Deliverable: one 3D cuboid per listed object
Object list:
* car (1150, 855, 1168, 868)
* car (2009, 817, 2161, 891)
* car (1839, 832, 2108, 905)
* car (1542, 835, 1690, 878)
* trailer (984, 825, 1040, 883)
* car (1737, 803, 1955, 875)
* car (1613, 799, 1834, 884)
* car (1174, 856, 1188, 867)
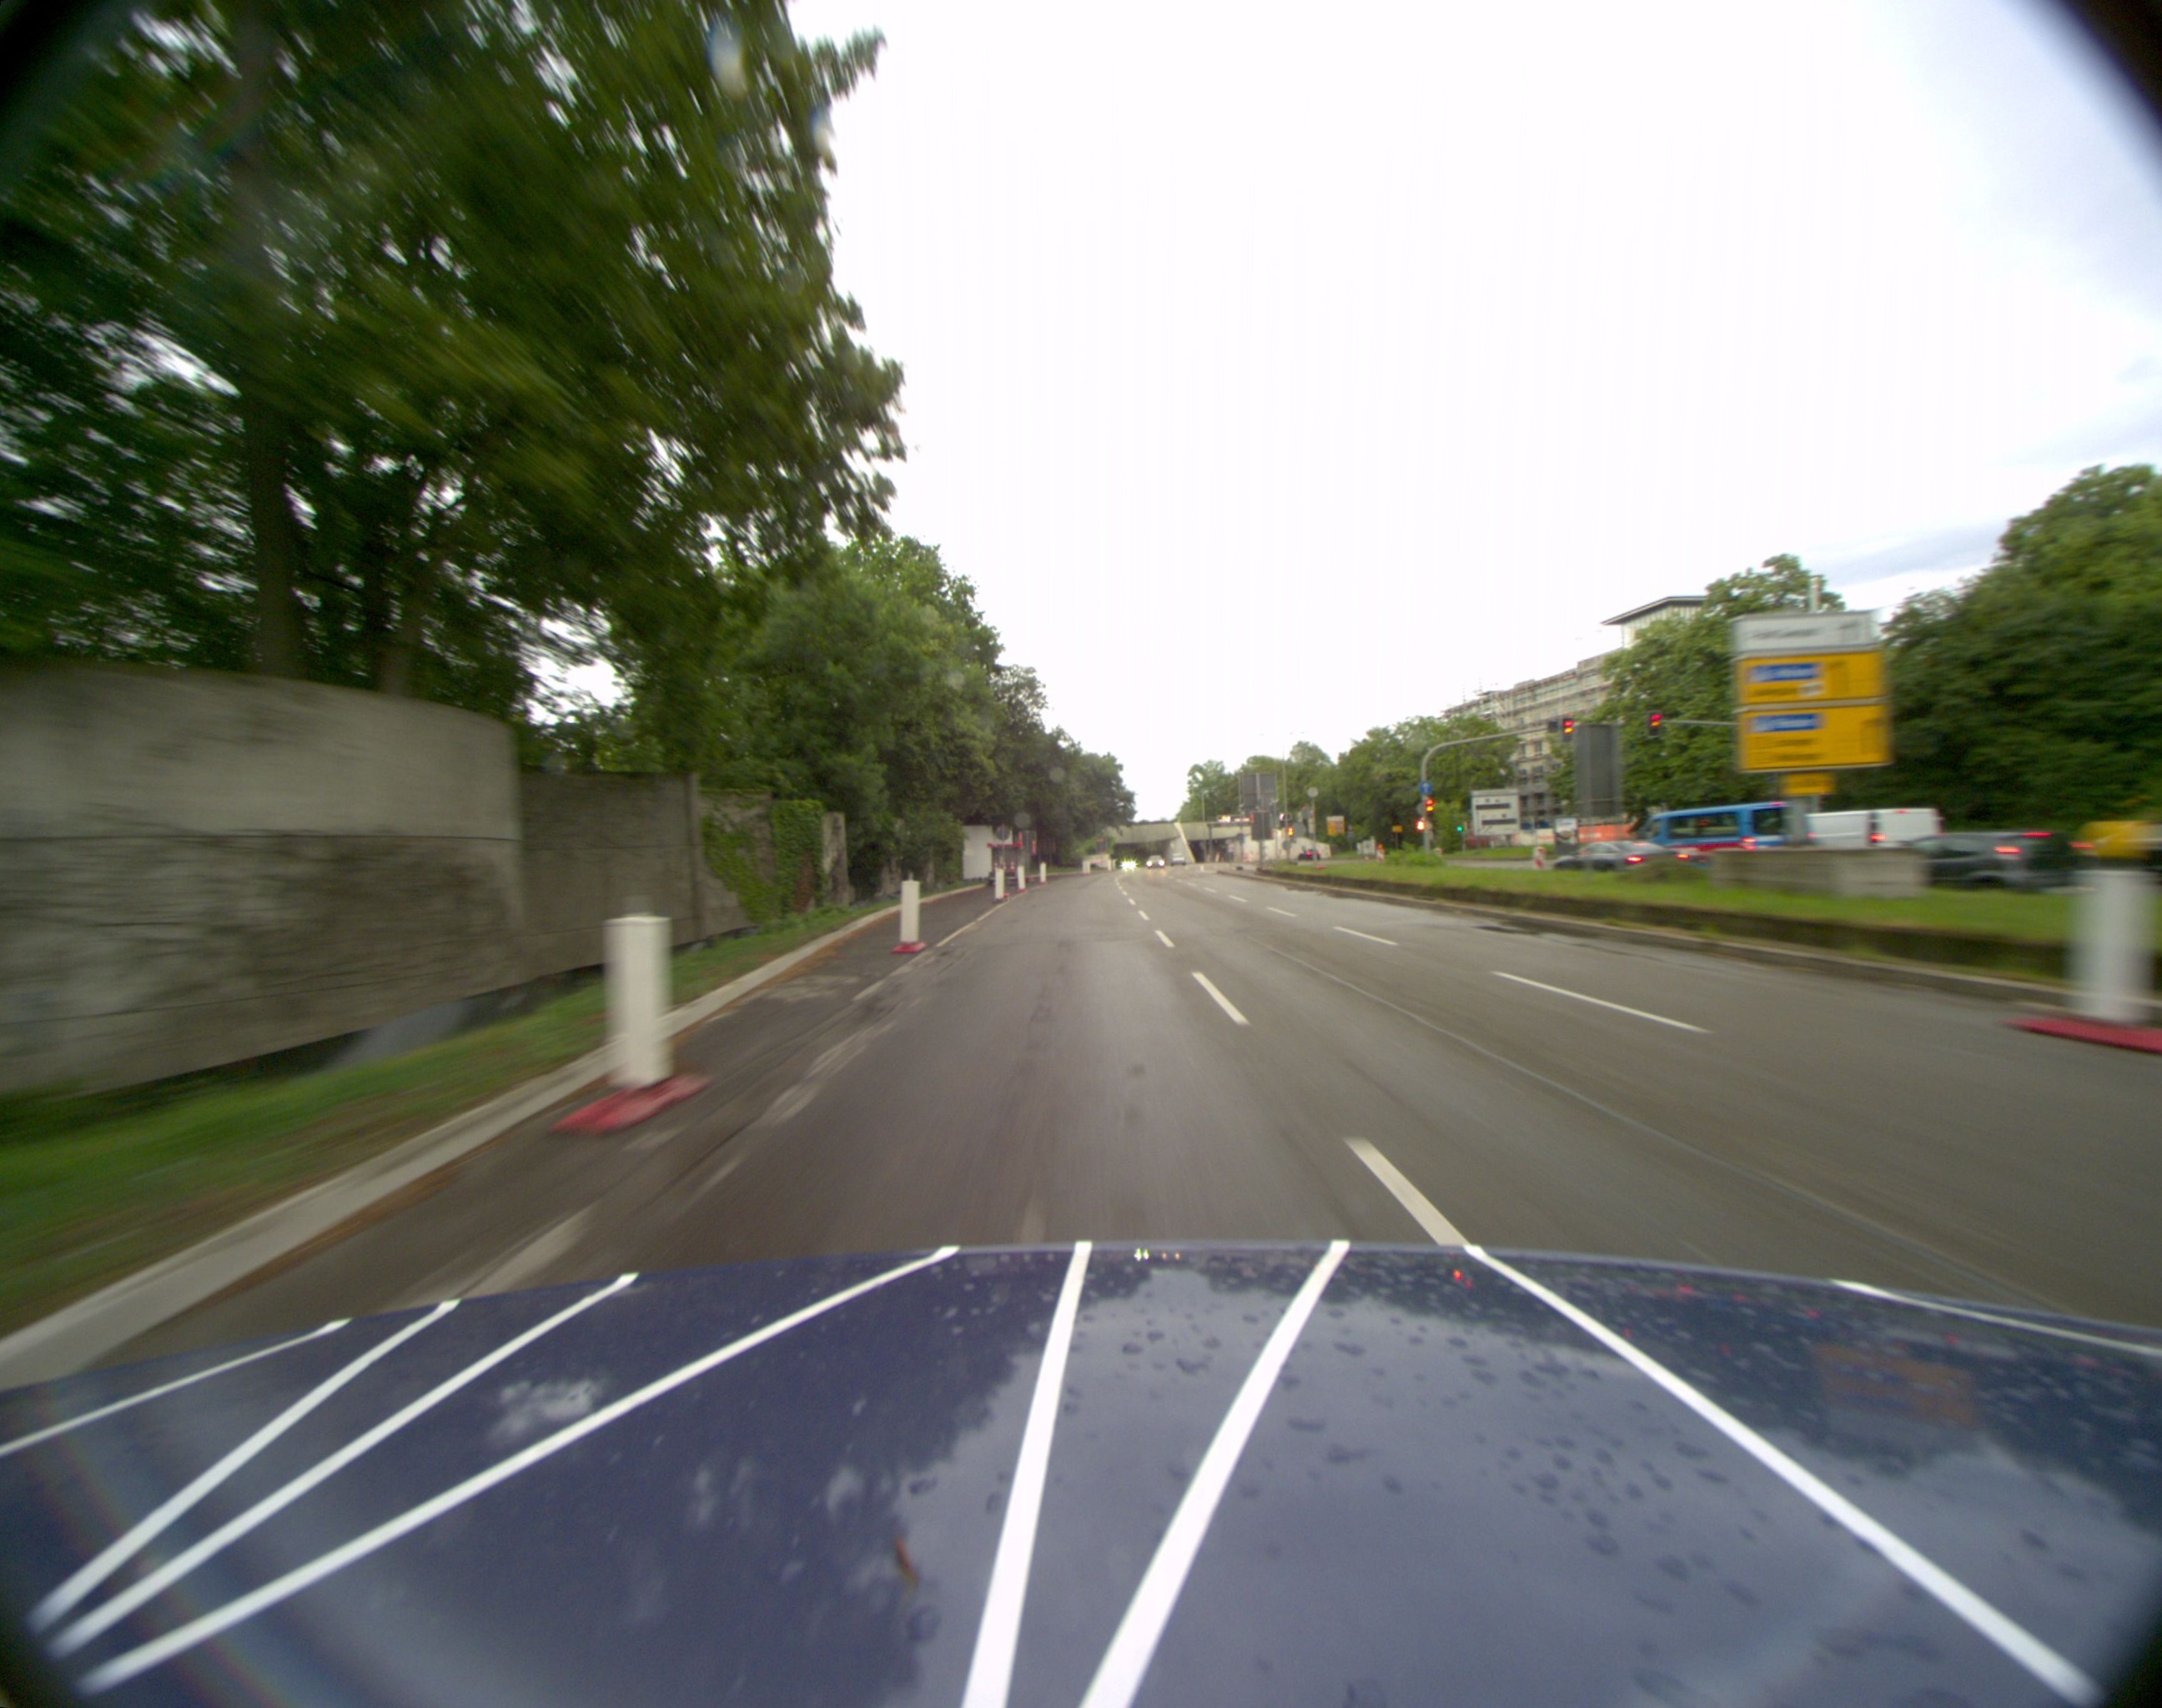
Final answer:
[{"bbox_3d":[8.815,0.852,86.008,1.697,1.393,3.826,-2,0,3],"label":"car"},{"bbox_3d":[23.341,-0.035,16.117,1.797,1.514,4.635,-3,0,4],"label":"car"},{"bbox_3d":[17.071,0.241,14.785,1.433,1.193,3.300,-3,0,4],"label":"car"},{"bbox_3d":[17.293,0.061,24.879,1.553,1.193,4.646,-3,0,0],"label":"car"},{"bbox_3d":[-4.407,-0.014,49.768,2.312,3.568,5.963,-1,0,8],"label":"trailer"},{"bbox_3d":[24.166,-0.394,24.356,2.039,1.962,4.992,-3,-1,3],"label":"car"},{"bbox_3d":[20.887,-0.314,25.263,2.200,2.376,6.246,-3,-1,3],"label":"car"},{"bbox_3d":[13.203,1.013,100.246,1.697,1.300,3.827,-2,0,6],"label":"car"}]
